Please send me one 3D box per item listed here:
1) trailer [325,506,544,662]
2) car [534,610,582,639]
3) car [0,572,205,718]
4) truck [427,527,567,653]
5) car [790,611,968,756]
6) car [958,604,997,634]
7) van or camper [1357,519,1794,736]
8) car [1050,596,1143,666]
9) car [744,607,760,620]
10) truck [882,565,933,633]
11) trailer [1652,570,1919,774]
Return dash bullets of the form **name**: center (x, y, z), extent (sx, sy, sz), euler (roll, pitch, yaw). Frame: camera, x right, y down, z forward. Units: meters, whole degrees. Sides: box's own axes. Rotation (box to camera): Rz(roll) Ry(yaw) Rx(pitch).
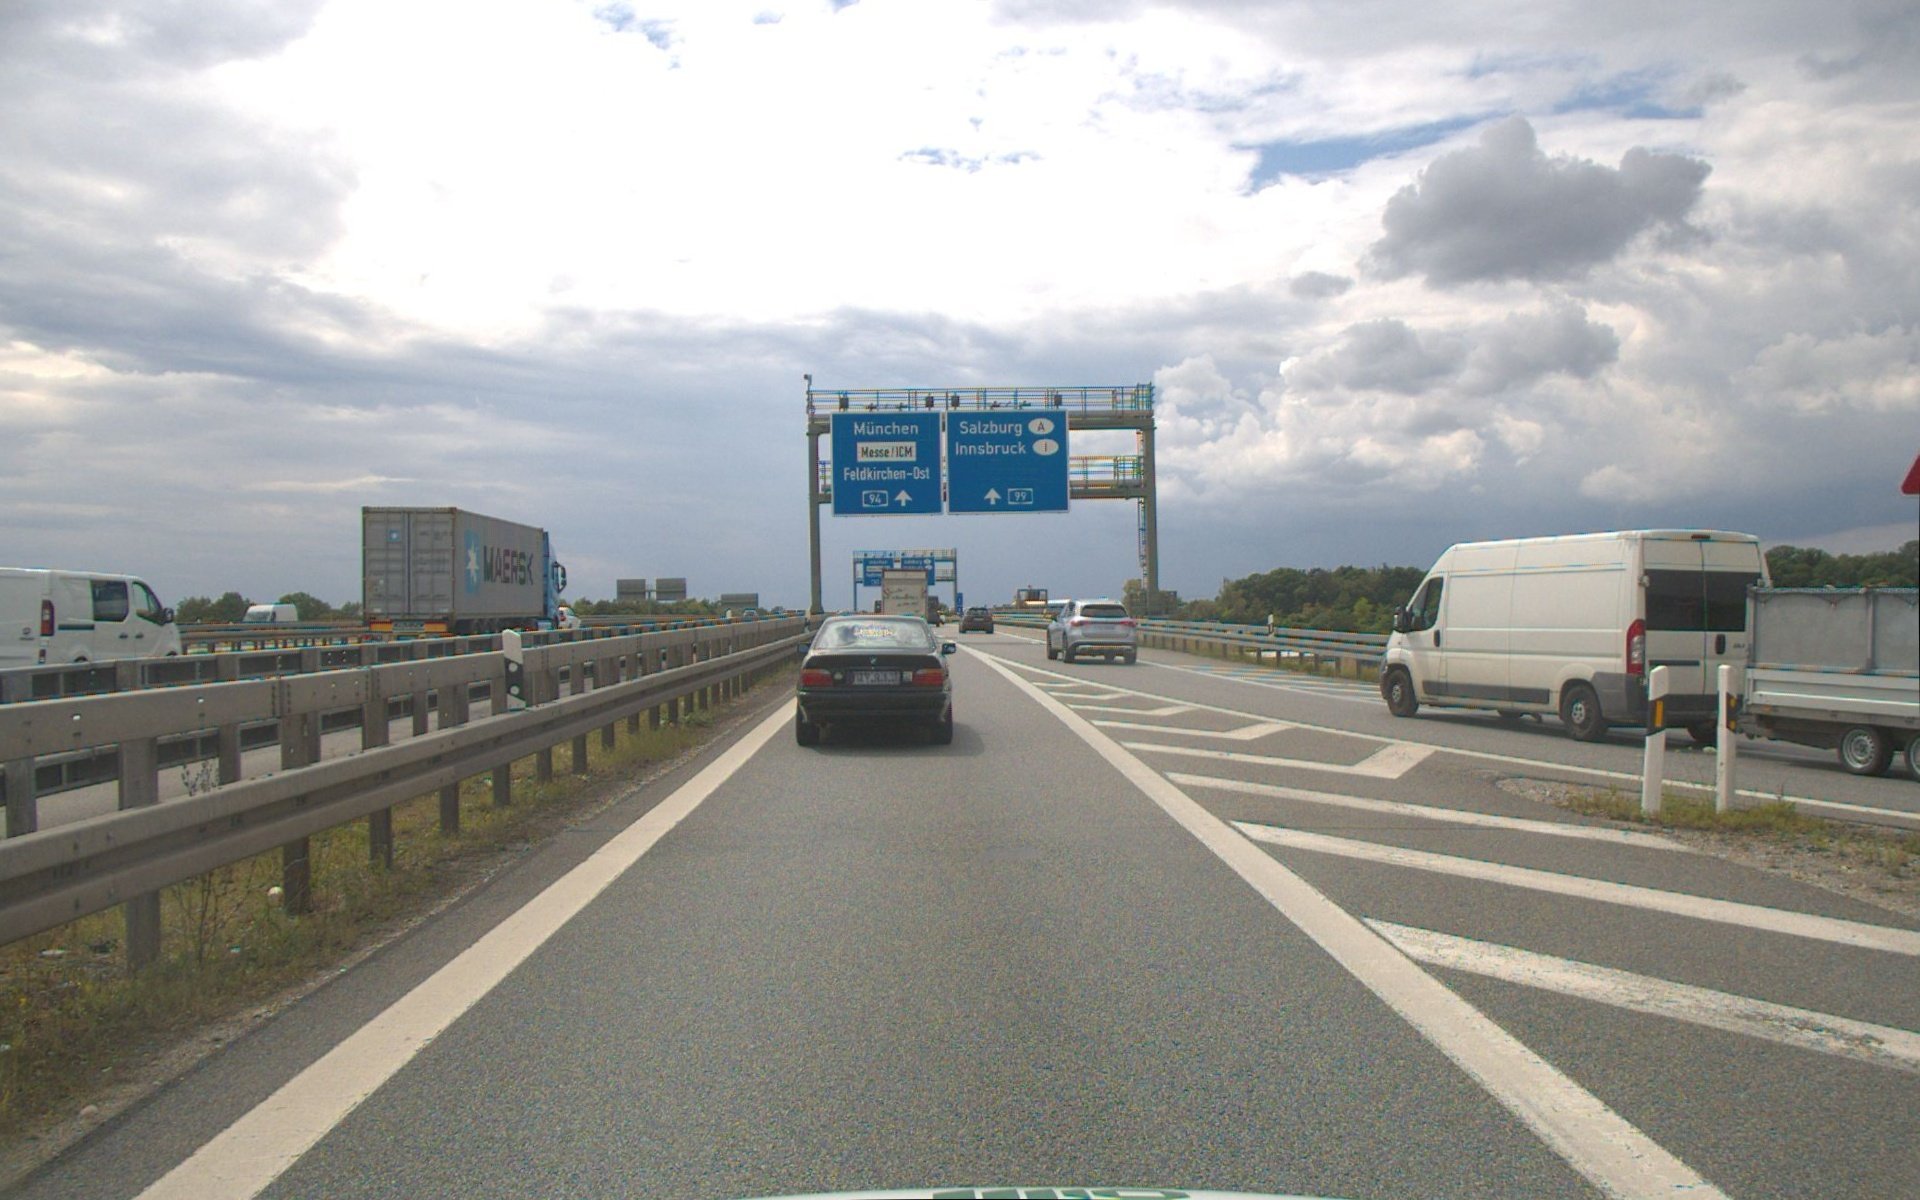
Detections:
- **trailer**: center (-15.100, -0.374, 48.817), extent (3.172, 3.993, 12.371), euler (0, 0, -3)
- **car**: center (-20.038, 1.189, 82.571), extent (1.718, 1.393, 4.201), euler (-1, 0, -5)
- **car**: center (-13.459, 0.626, 24.979), extent (1.959, 1.972, 5.129), euler (0, 0, -3)
- **truck**: center (-15.479, -0.318, 55.829), extent (3.182, 3.980, 6.605), euler (0, 0, -3)
- **car**: center (-0.854, 0.831, 18.327), extent (1.746, 1.402, 4.135), euler (0, 0, -2)
- **car**: center (0.934, 1.012, 89.665), extent (1.953, 1.579, 3.999), euler (0, 0, -1)
- **van or camper**: center (7.684, 0.322, 21.531), extent (2.189, 2.402, 5.910), euler (1, 0, -18)
- **car**: center (3.522, 0.768, 43.445), extent (1.897, 1.714, 4.207), euler (-1, 0, -3)
- **car**: center (-26.757, 1.731, 212.628), extent (1.855, 1.625, 4.413), euler (0, 0, -5)
- **truck**: center (-2.514, -0.041, 79.212), extent (2.355, 3.144, 6.368), euler (0, 0, -2)
- **trailer**: center (9.338, 0.669, 16.570), extent (1.964, 1.874, 4.481), euler (1, 0, -19)
